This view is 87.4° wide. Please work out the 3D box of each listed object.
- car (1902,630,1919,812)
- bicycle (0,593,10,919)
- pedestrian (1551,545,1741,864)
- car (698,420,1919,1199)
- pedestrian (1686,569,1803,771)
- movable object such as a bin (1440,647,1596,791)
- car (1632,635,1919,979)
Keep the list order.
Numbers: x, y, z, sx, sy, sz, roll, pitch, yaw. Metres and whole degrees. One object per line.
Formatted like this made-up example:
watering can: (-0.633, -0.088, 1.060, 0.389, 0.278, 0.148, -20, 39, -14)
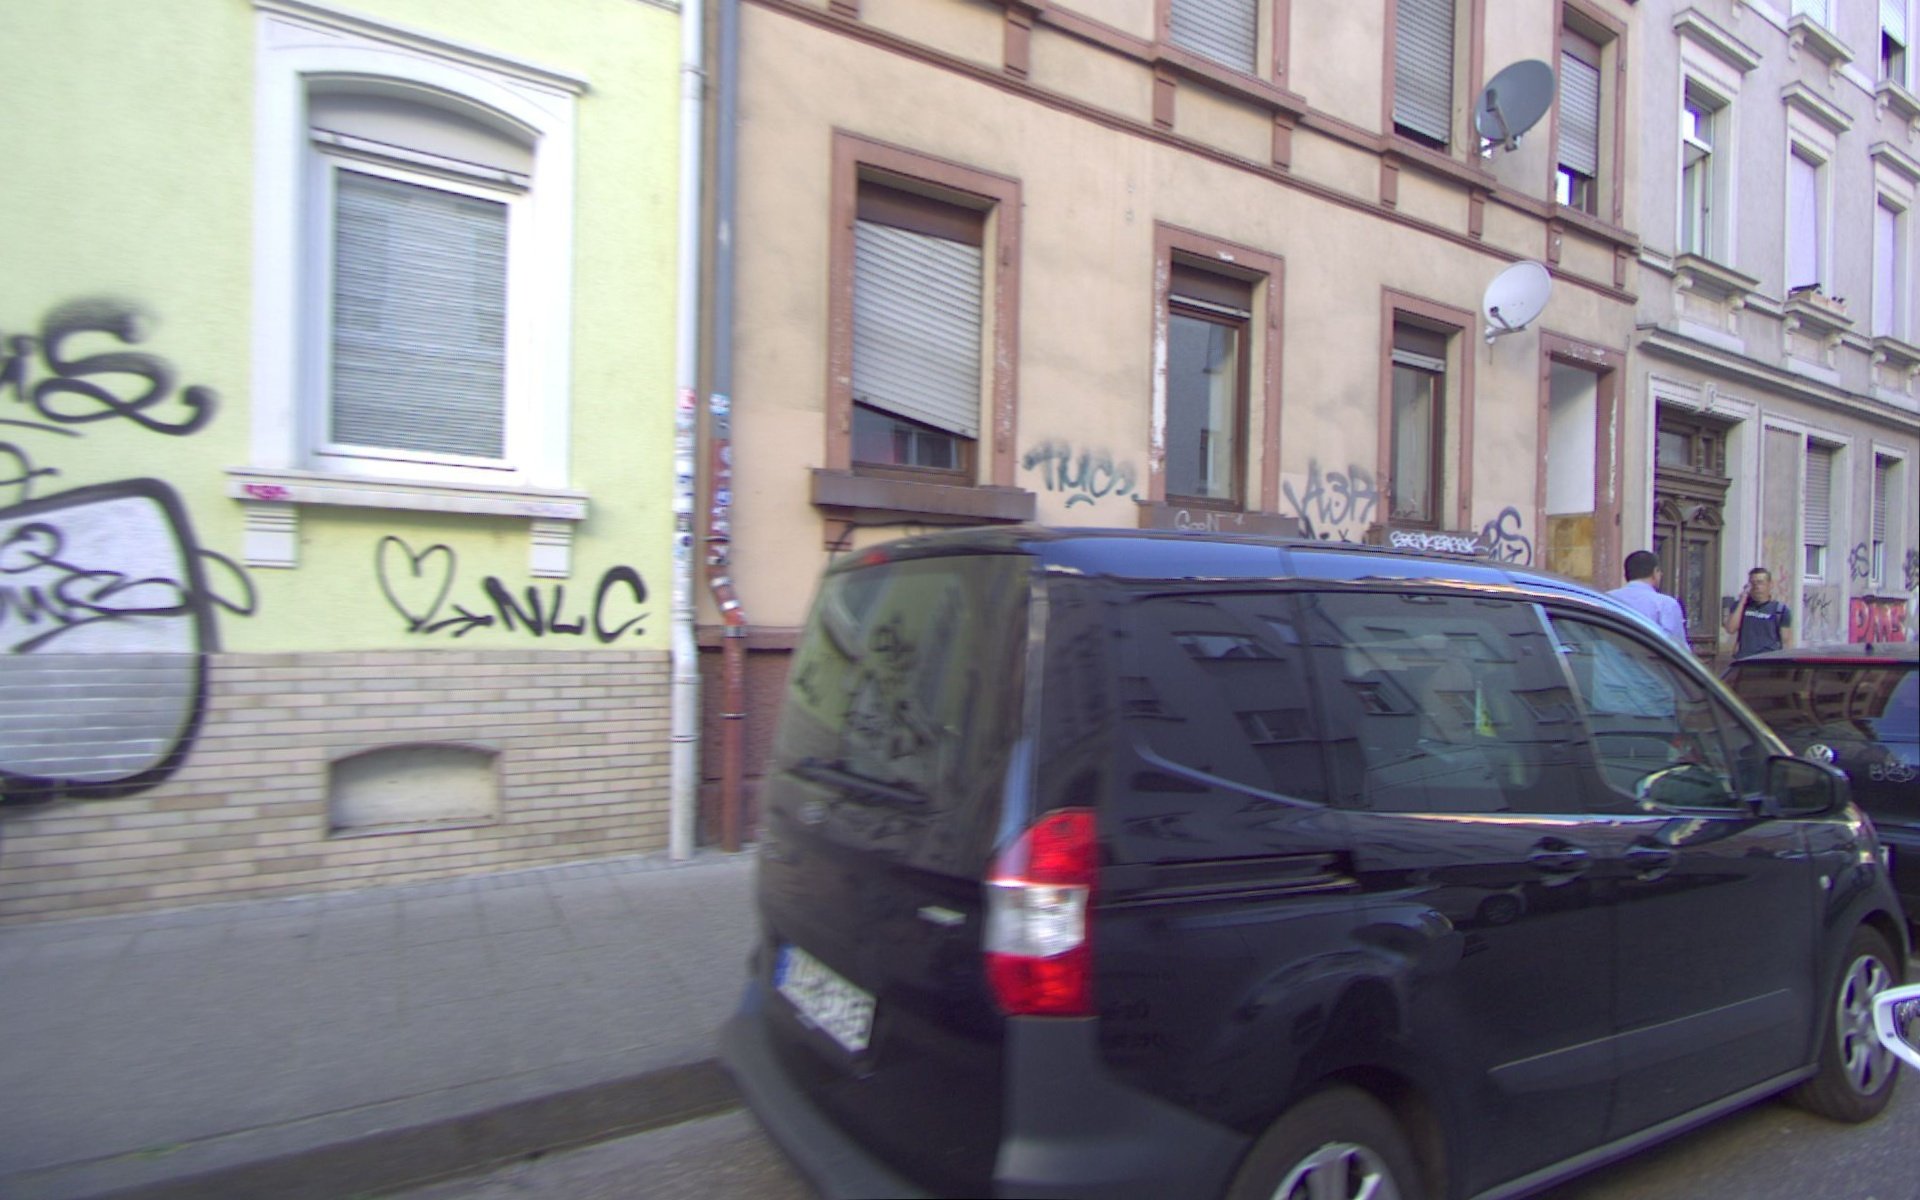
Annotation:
car: (9.670, 0.993, 8.284, 3.840, 1.449, 1.667, 1, -1, -28)
bicycle: (-4.579, 0.601, 3.092, 2.300, 1.262, 0.663, 1, 3, -31)
pedestrian: (4.257, 0.602, 6.249, 0.745, 1.842, 0.648, 1, 2, -30)
car: (1.371, 0.682, 3.222, 3.954, 1.720, 1.792, 1, -3, -31)
pedestrian: (7.660, 0.652, 9.815, 0.745, 1.883, 0.607, 1, 2, -31)
movable object such as a bin: (4.612, 0.950, 8.322, 0.747, 1.039, 0.786, 1, 4, -28)
car: (5.547, 0.947, 5.584, 3.610, 1.459, 1.584, 1, -1, -30)
